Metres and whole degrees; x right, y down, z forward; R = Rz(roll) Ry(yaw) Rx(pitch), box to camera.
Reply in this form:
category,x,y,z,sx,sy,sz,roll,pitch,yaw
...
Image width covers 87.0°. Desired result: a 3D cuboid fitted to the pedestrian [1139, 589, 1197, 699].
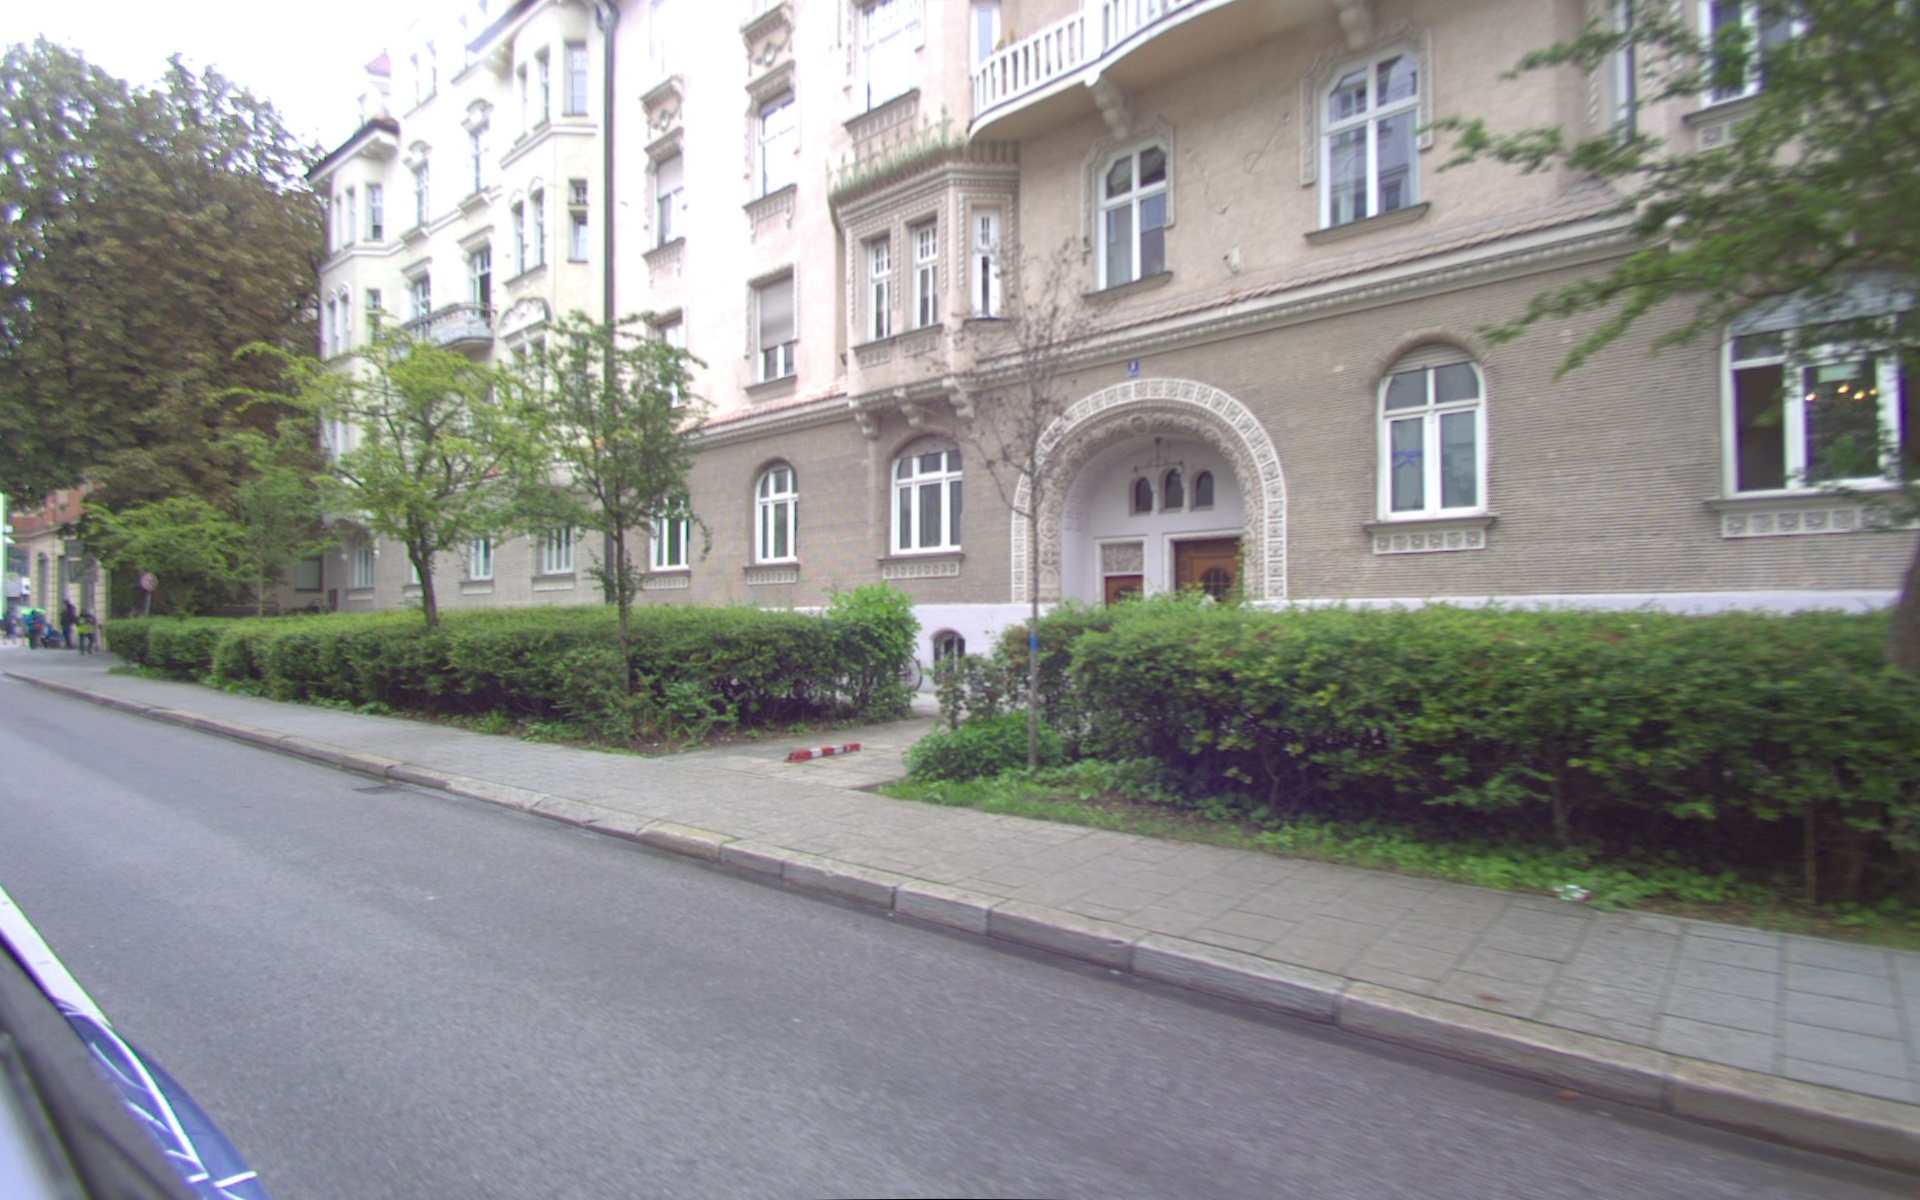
category,x,y,z,sx,sy,sz,roll,pitch,yaw
pedestrian,3.157,0.653,15.362,0.718,1.623,0.605,-1,-2,29

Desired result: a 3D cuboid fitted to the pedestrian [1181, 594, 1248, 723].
category,x,y,z,sx,sy,sz,roll,pitch,yaw
pedestrian,3.319,0.748,13.212,0.718,1.623,0.605,-1,-2,29

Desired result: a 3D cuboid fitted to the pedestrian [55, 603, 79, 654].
category,x,y,z,sx,sy,sz,roll,pitch,yaw
pedestrian,-35.015,1.117,39.681,0.661,1.971,0.617,-1,-2,41

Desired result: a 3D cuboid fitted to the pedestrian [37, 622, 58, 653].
category,x,y,z,sx,sy,sz,roll,pitch,yaw
pedestrian,-37.297,1.528,41.351,0.577,1.253,0.539,-1,-2,41

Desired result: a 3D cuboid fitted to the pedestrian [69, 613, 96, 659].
category,x,y,z,sx,sy,sz,roll,pitch,yaw
pedestrian,-31.347,1.269,36.162,0.661,1.633,0.617,-1,-2,41

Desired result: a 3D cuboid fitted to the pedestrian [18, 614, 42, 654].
category,x,y,z,sx,sy,sz,roll,pitch,yaw
pedestrian,-37.940,1.394,41.281,0.661,1.601,0.617,-1,-2,41
